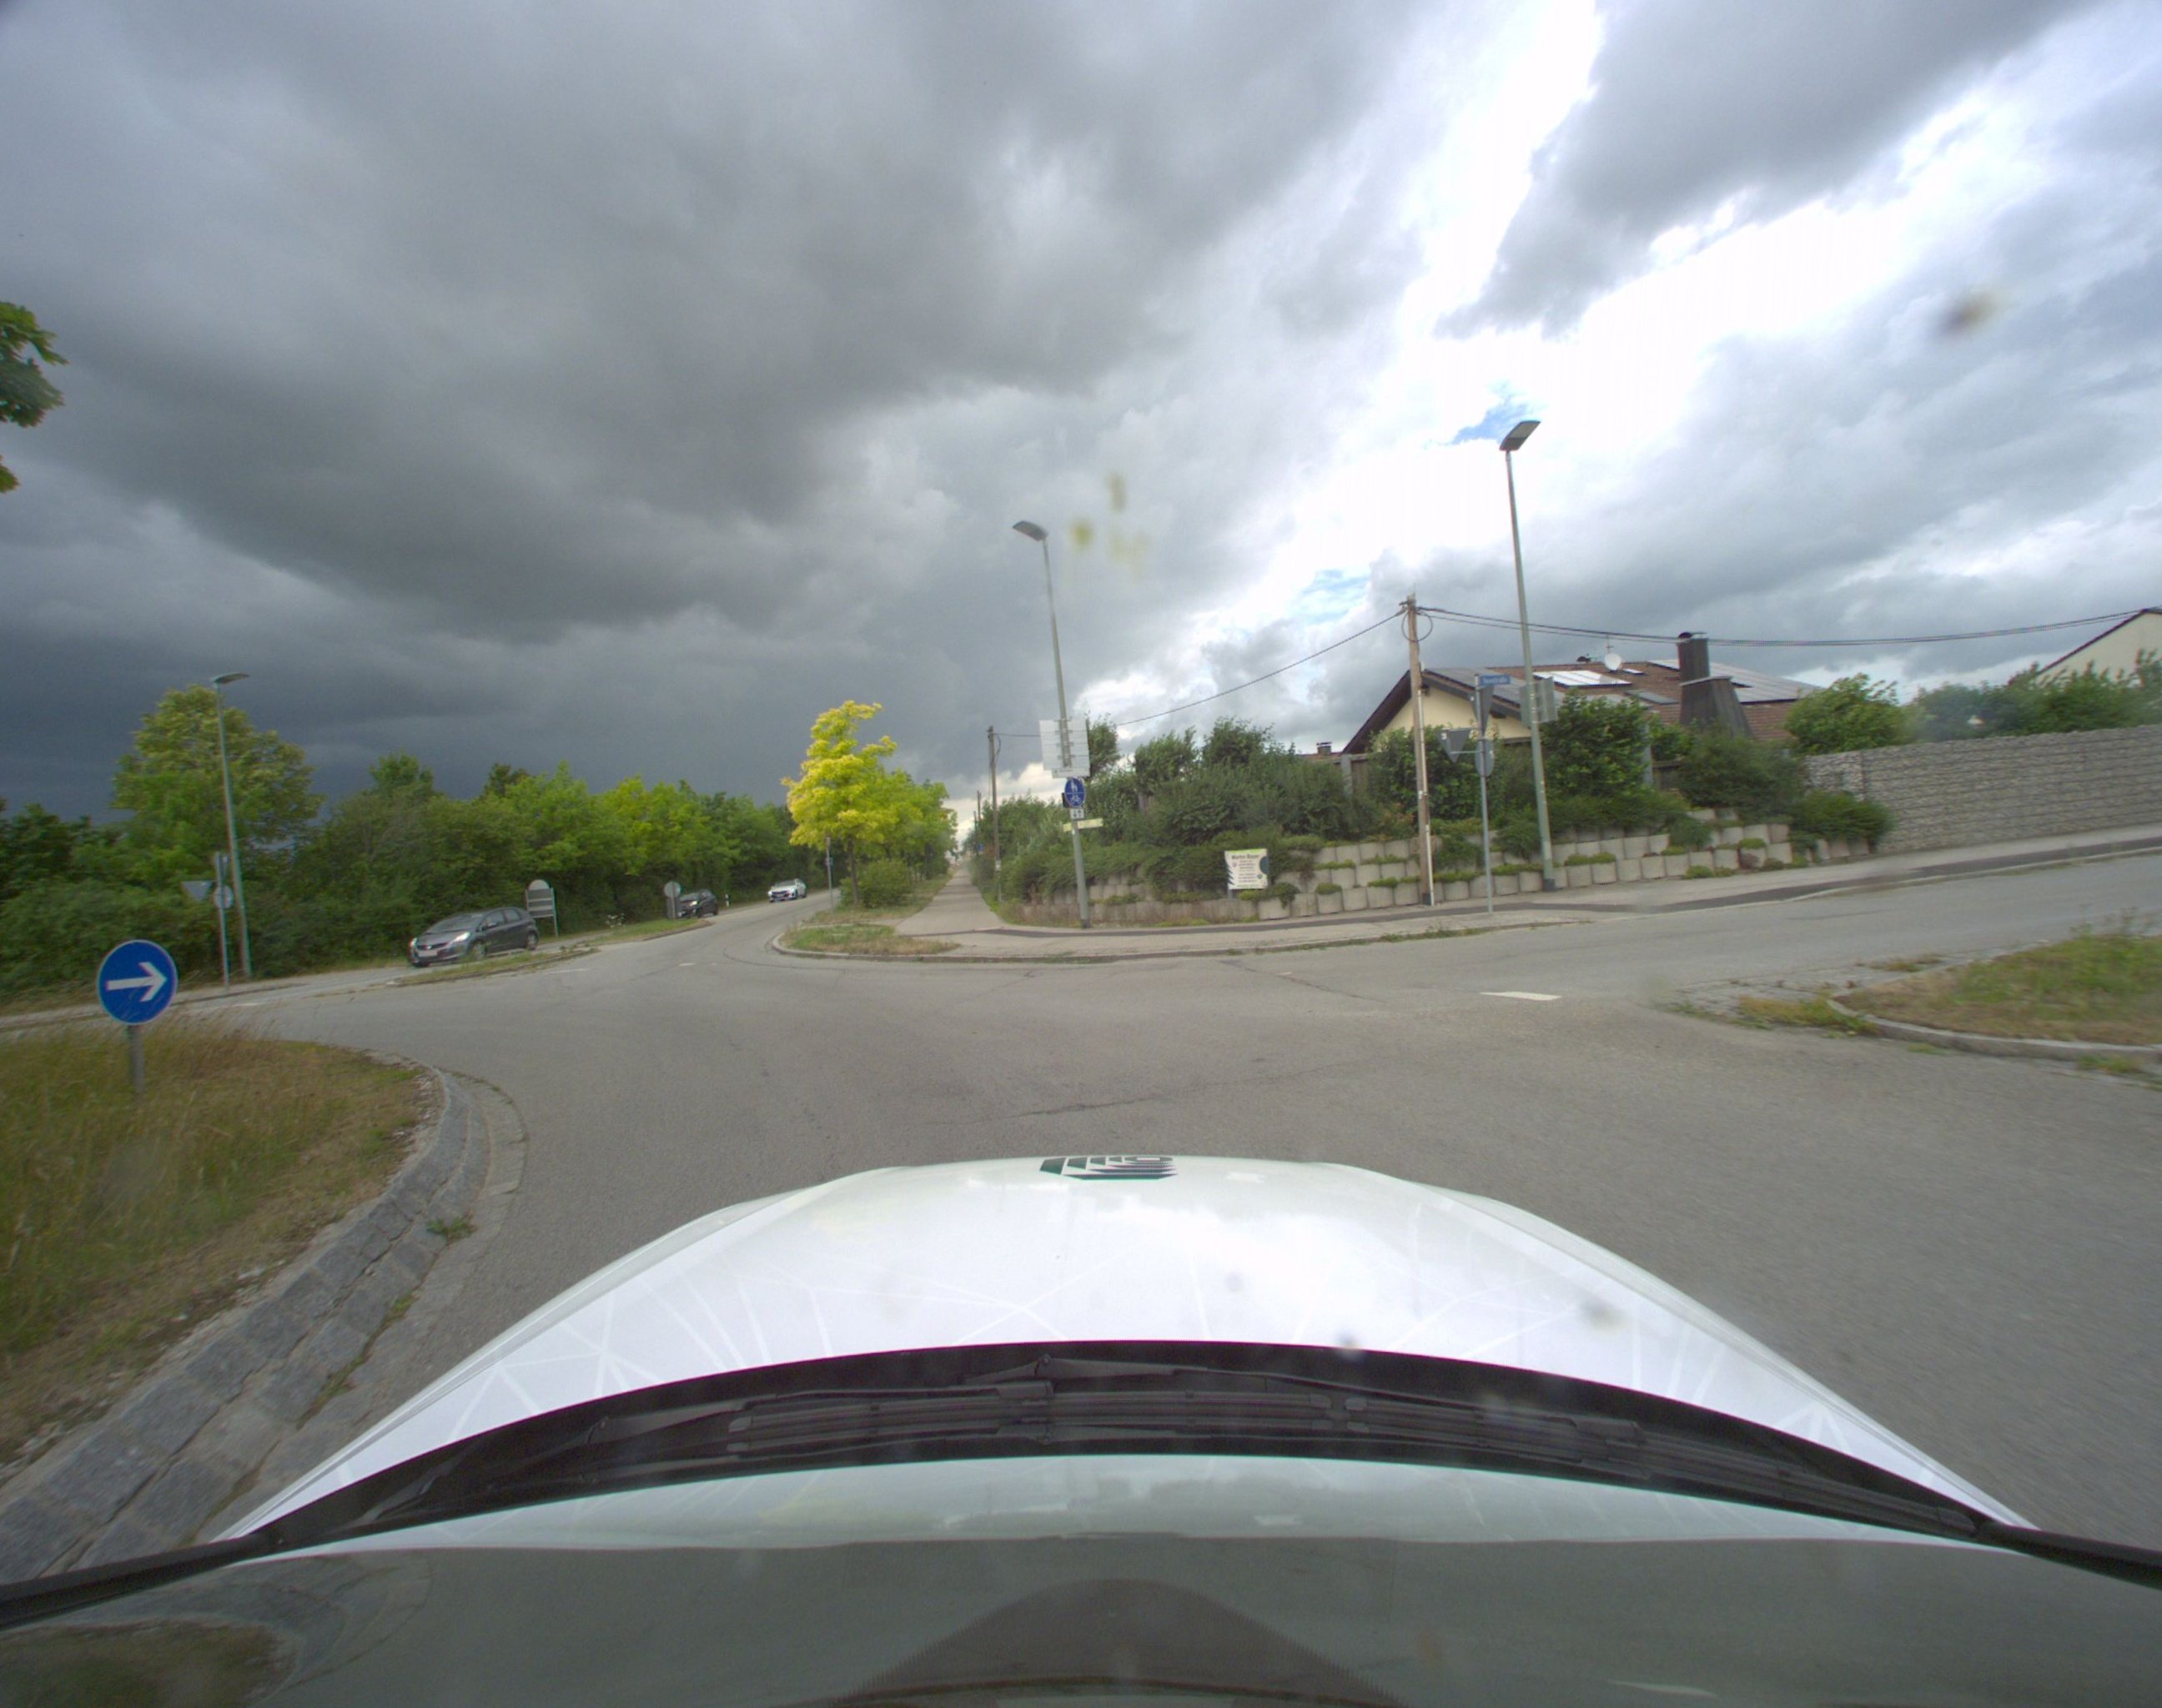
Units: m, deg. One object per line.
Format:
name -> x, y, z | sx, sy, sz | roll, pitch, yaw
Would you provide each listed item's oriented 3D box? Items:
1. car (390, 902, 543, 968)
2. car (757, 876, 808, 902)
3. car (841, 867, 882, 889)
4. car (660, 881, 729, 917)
car -> -18.206, 2.348, 24.390 | 1.679, 1.423, 3.994 | -4, 1, -4
car -> -21.540, 2.478, 59.004 | 2.210, 1.454, 4.933 | -4, 1, -5
car -> -18.040, 1.974, 67.175 | 2.205, 1.454, 4.938 | -4, 1, -3
car -> -19.770, 2.269, 41.864 | 1.678, 1.454, 3.997 | -4, 1, -2
